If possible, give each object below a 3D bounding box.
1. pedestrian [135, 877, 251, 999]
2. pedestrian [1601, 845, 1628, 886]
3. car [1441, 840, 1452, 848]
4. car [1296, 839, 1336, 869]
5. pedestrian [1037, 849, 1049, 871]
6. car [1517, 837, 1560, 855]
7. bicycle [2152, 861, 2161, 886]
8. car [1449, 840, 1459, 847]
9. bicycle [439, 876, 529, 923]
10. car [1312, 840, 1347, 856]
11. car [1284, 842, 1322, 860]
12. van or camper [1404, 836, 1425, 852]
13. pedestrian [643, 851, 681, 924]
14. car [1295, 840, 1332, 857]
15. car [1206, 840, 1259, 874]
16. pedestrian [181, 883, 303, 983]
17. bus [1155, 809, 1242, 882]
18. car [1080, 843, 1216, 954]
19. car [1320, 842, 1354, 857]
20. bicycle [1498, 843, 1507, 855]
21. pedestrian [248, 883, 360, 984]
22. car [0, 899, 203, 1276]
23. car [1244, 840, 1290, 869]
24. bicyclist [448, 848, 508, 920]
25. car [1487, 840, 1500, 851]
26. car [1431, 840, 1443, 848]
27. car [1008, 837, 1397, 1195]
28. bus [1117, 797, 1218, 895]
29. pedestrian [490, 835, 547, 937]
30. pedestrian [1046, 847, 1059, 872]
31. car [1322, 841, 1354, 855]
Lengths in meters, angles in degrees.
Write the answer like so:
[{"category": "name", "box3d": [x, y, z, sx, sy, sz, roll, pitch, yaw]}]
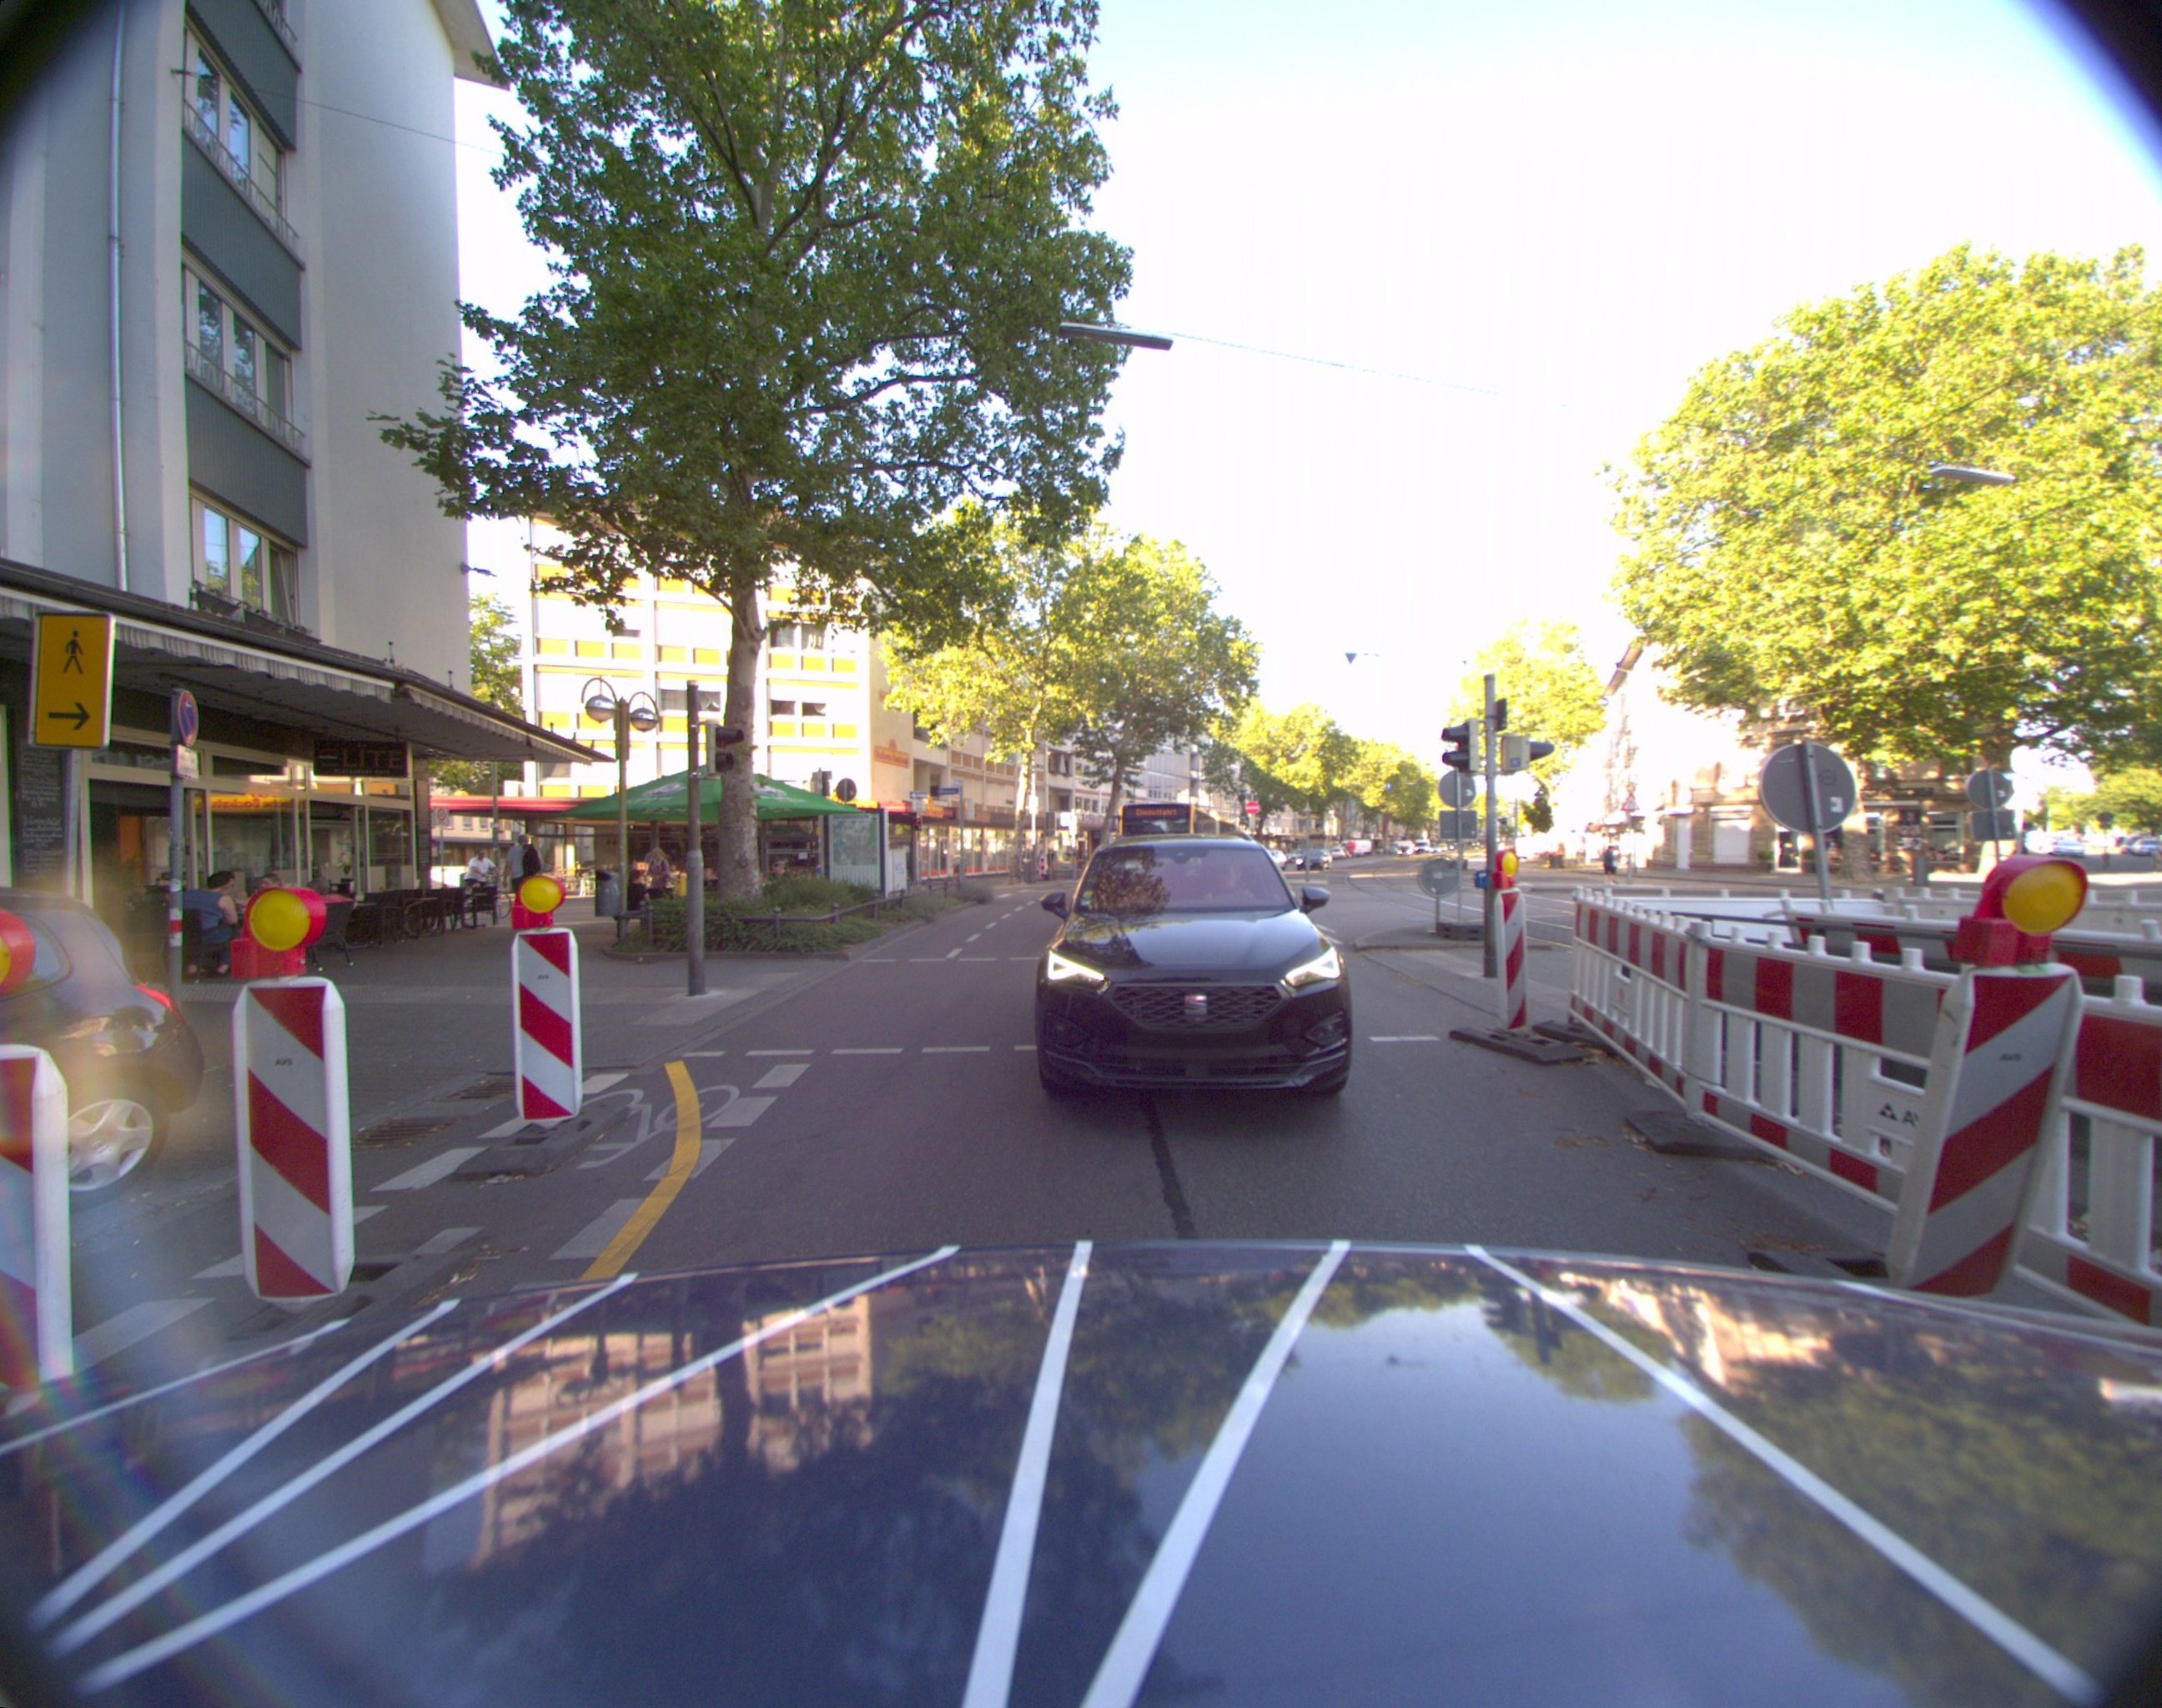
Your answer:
[{"category": "pedestrian", "box3d": [-10.302, 0.938, 8.823, 0.789, 1.299, 0.701, 0, 1, 28]}, {"category": "pedestrian", "box3d": [20.328, 0.431, 28.974, 0.603, 1.524, 0.745, 0, 1, 12]}, {"category": "car", "box3d": [78.308, -2.094, 162.672, 1.836, 1.792, 4.138, 0, 1, 31]}, {"category": "car", "box3d": [16.605, -0.020, 53.550, 1.995, 2.002, 4.007, 0, 1, 27]}, {"category": "pedestrian", "box3d": [-2.468, 0.412, 49.495, 0.627, 1.429, 0.532, 0, 1, 20]}, {"category": "car", "box3d": [52.489, -0.961, 87.175, 4.001, 2.002, 1.997, -1, 1, -13]}, {"category": "bicycle", "box3d": [36.117, 0.633, 24.936, 1.993, 0.777, 0.680, -1, 1, -23]}, {"category": "car", "box3d": [89.537, -2.523, 182.271, 1.836, 1.792, 4.138, 0, 1, 31]}, {"category": "bicycle", "box3d": [-15.230, 1.161, 19.400, 1.883, 1.123, 0.752, -2, 0, 12]}, {"category": "car", "box3d": [32.305, -0.830, 98.780, 3.994, 2.002, 2.001, -1, 1, 8]}, {"category": "car", "box3d": [24.940, -0.308, 85.301, 3.991, 2.002, 2.003, 0, 1, 18]}, {"category": "van or camper", "box3d": [57.729, -1.785, 131.375, 2.420, 2.702, 6.144, 0, 1, 32]}, {"category": "pedestrian", "box3d": [-9.560, 0.741, 17.343, 0.629, 1.628, 0.531, -1, 1, -15]}, {"category": "car", "box3d": [28.403, -0.709, 92.942, 3.994, 2.002, 2.001, -1, 1, 8]}, {"category": "car", "box3d": [9.273, 0.139, 46.334, 1.995, 2.002, 4.105, 0, 1, 29]}, {"category": "pedestrian", "box3d": [-10.736, 0.988, 9.747, 0.647, 1.186, 0.792, 0, 1, 7]}, {"category": "bus", "box3d": [5.938, -0.407, 37.038, 2.717, 3.088, 8.608, 0, 1, 19]}, {"category": "car", "box3d": [1.023, 0.636, 13.296, 1.998, 1.634, 4.075, -1, 1, 1]}, {"category": "car", "box3d": [34.900, -0.575, 103.629, 3.994, 2.002, 2.001, -1, 1, 8]}, {"category": "bicycle", "box3d": [45.039, -0.529, 81.172, 0.850, 1.186, 2.470, 0, 1, 28]}, {"category": "pedestrian", "box3d": [-9.869, 0.979, 9.661, 0.877, 1.186, 0.701, 0, 1, 24]}, {"category": "car", "box3d": [-5.231, 0.969, 1.962, 1.771, 1.459, 3.610, 2, 1, -2]}, {"category": "car", "box3d": [13.571, 0.009, 55.273, 1.994, 2.002, 4.008, 0, 1, 33]}, {"category": "bicyclist", "box3d": [-15.413, 0.749, 19.435, 0.924, 1.816, 0.754, 0, 1, 12]}, {"category": "car", "box3d": [76.391, -1.645, 140.686, 1.994, 2.002, 4.007, 0, 1, 29]}, {"category": "car", "box3d": [69.141, -1.987, 147.456, 1.700, 1.462, 3.771, 0, 1, 31]}, {"category": "car", "box3d": [0.608, 0.757, 5.619, 1.841, 1.696, 4.000, -1, 1, 1]}, {"category": "bus", "box3d": [3.504, -0.299, 28.554, 2.718, 3.088, 8.629, 0, 1, 13]}, {"category": "pedestrian", "box3d": [-11.166, 0.614, 15.110, 0.649, 1.948, 0.888, -1, 1, -21]}, {"category": "pedestrian", "box3d": [-1.848, 0.368, 49.275, 0.627, 1.577, 0.532, 0, 1, 20]}, {"category": "car", "box3d": [36.541, -0.866, 107.908, 3.994, 2.002, 2.001, -1, 1, 8]}]
